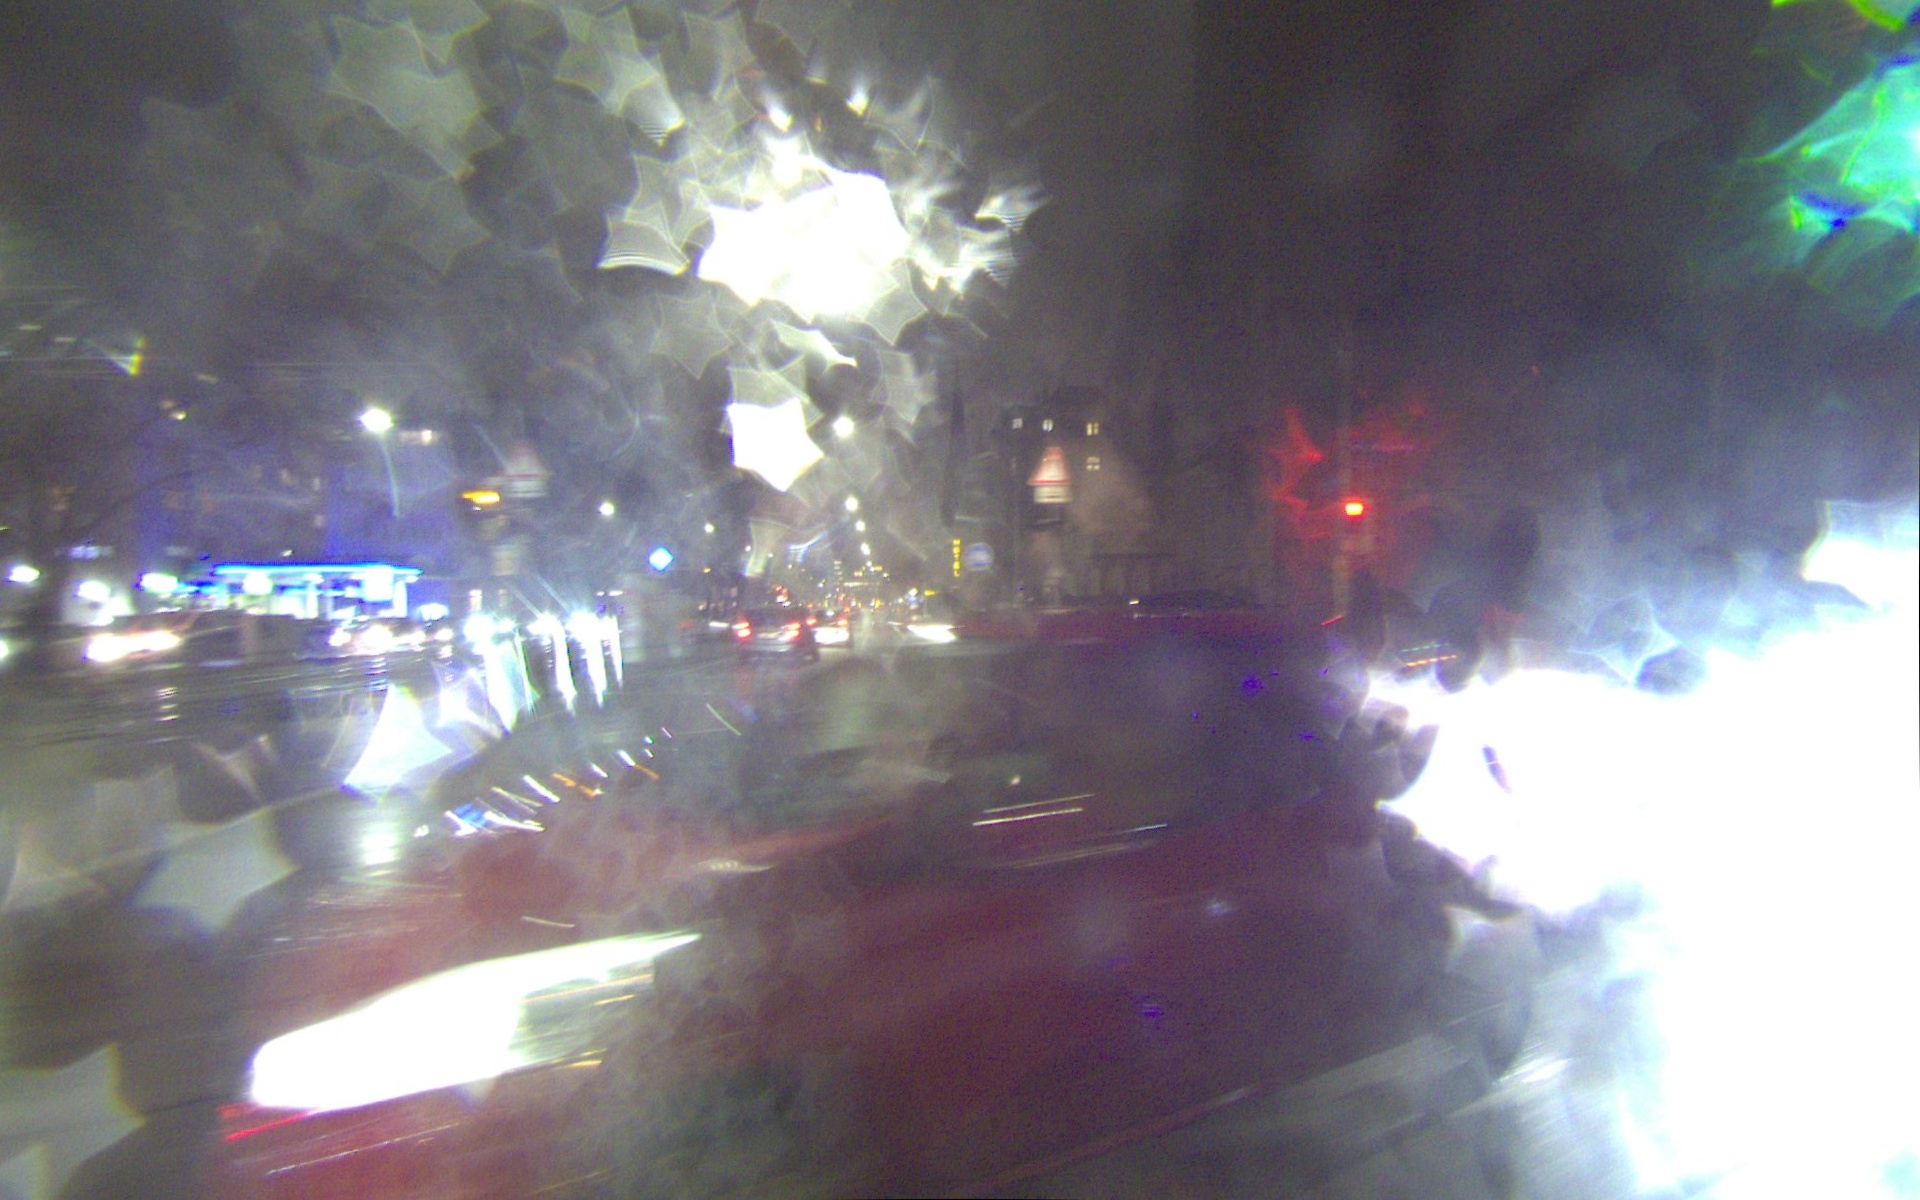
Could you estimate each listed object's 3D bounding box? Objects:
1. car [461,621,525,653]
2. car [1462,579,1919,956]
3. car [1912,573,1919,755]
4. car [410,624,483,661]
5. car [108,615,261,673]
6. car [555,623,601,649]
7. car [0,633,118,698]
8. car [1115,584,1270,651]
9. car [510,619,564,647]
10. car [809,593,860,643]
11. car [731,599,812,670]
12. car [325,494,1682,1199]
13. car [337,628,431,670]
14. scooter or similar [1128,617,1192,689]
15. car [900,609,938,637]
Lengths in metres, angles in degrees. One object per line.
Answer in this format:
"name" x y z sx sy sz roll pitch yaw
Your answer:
"car" -28.209 2.217 60.893 1.861 1.766 4.738 -2 -1 -3
"car" 4.805 0.627 5.612 4.049 1.439 1.660 -1 0 -31
"car" 10.809 0.503 9.212 4.798 1.575 1.779 -1 0 -31
"car" -27.460 2.240 53.863 1.862 1.766 4.735 -2 -1 -6
"car" -26.109 1.414 34.060 1.862 1.766 4.735 -2 -1 -6
"car" -28.988 2.721 76.432 1.861 1.766 4.738 -2 -1 -3
"car" -25.752 1.768 27.596 1.862 1.590 4.329 -2 -1 -6
"car" 6.876 0.506 29.890 4.114 1.723 1.702 -3 0 -5
"car" -28.715 2.201 68.317 1.861 1.766 4.738 -2 -1 -3
"car" -4.989 0.713 40.261 1.862 1.804 4.329 -2 -1 -6
"car" -5.208 0.927 28.292 1.862 1.804 4.329 -2 -1 -6
"car" 0.376 0.617 3.225 3.959 1.583 1.661 -1 0 -30
"car" -27.028 2.254 47.339 1.861 1.766 4.738 -2 -1 -3
"scooter or similar" 3.568 0.941 17.942 1.061 1.256 0.285 -1 0 33
"car" -2.871 1.592 69.420 2.050 1.804 4.326 -2 -1 -9
